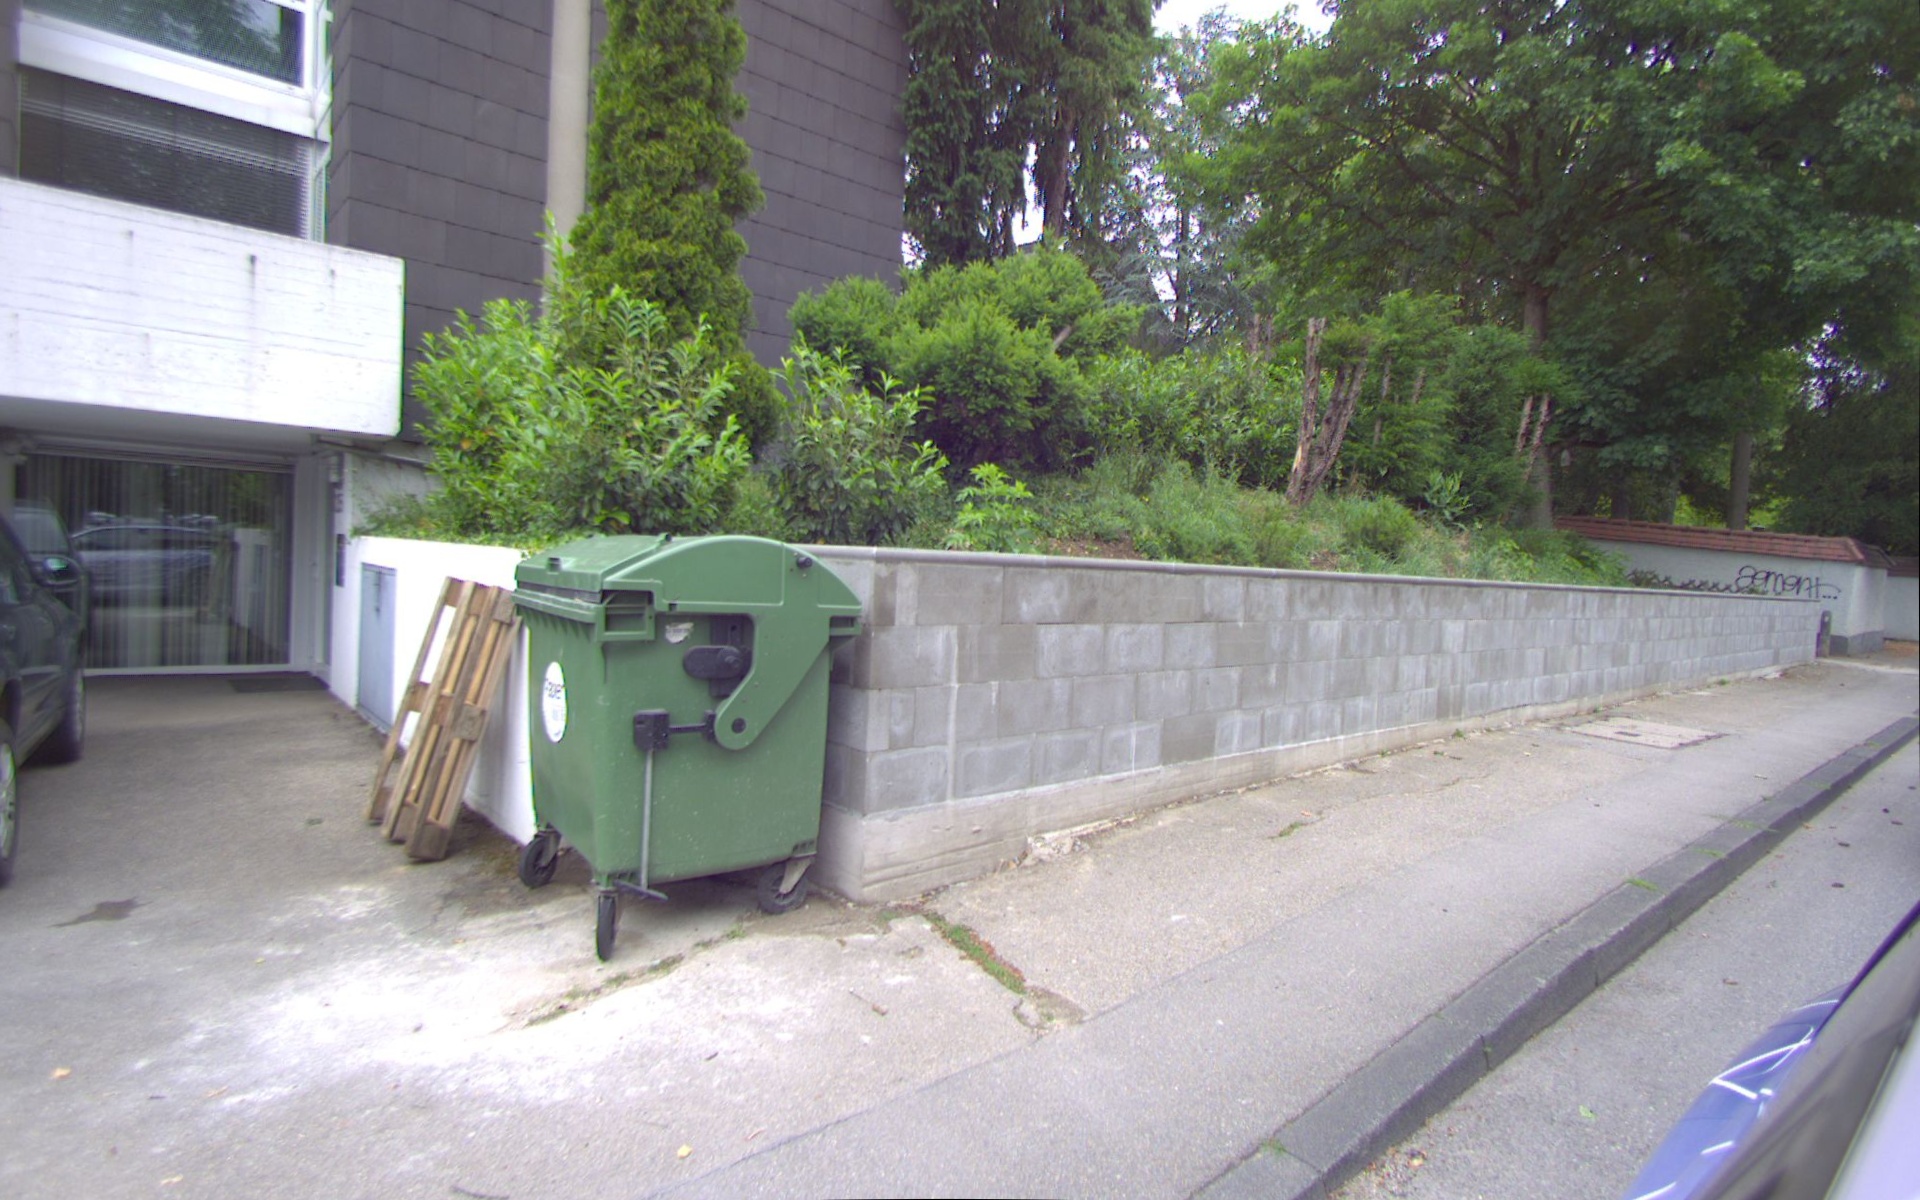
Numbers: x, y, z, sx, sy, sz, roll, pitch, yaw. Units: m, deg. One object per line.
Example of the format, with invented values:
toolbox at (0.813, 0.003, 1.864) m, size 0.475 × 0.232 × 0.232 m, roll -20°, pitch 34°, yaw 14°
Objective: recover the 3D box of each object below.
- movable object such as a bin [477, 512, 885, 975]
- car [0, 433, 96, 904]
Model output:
movable object such as a bin at (-1.171, 0.415, 4.087) m, size 1.096 × 1.469 × 1.407 m, roll 0°, pitch 3°, yaw -40°
car at (-5.035, 0.145, 4.360) m, size 1.712 × 1.671 × 3.914 m, roll 0°, pitch 4°, yaw -36°
